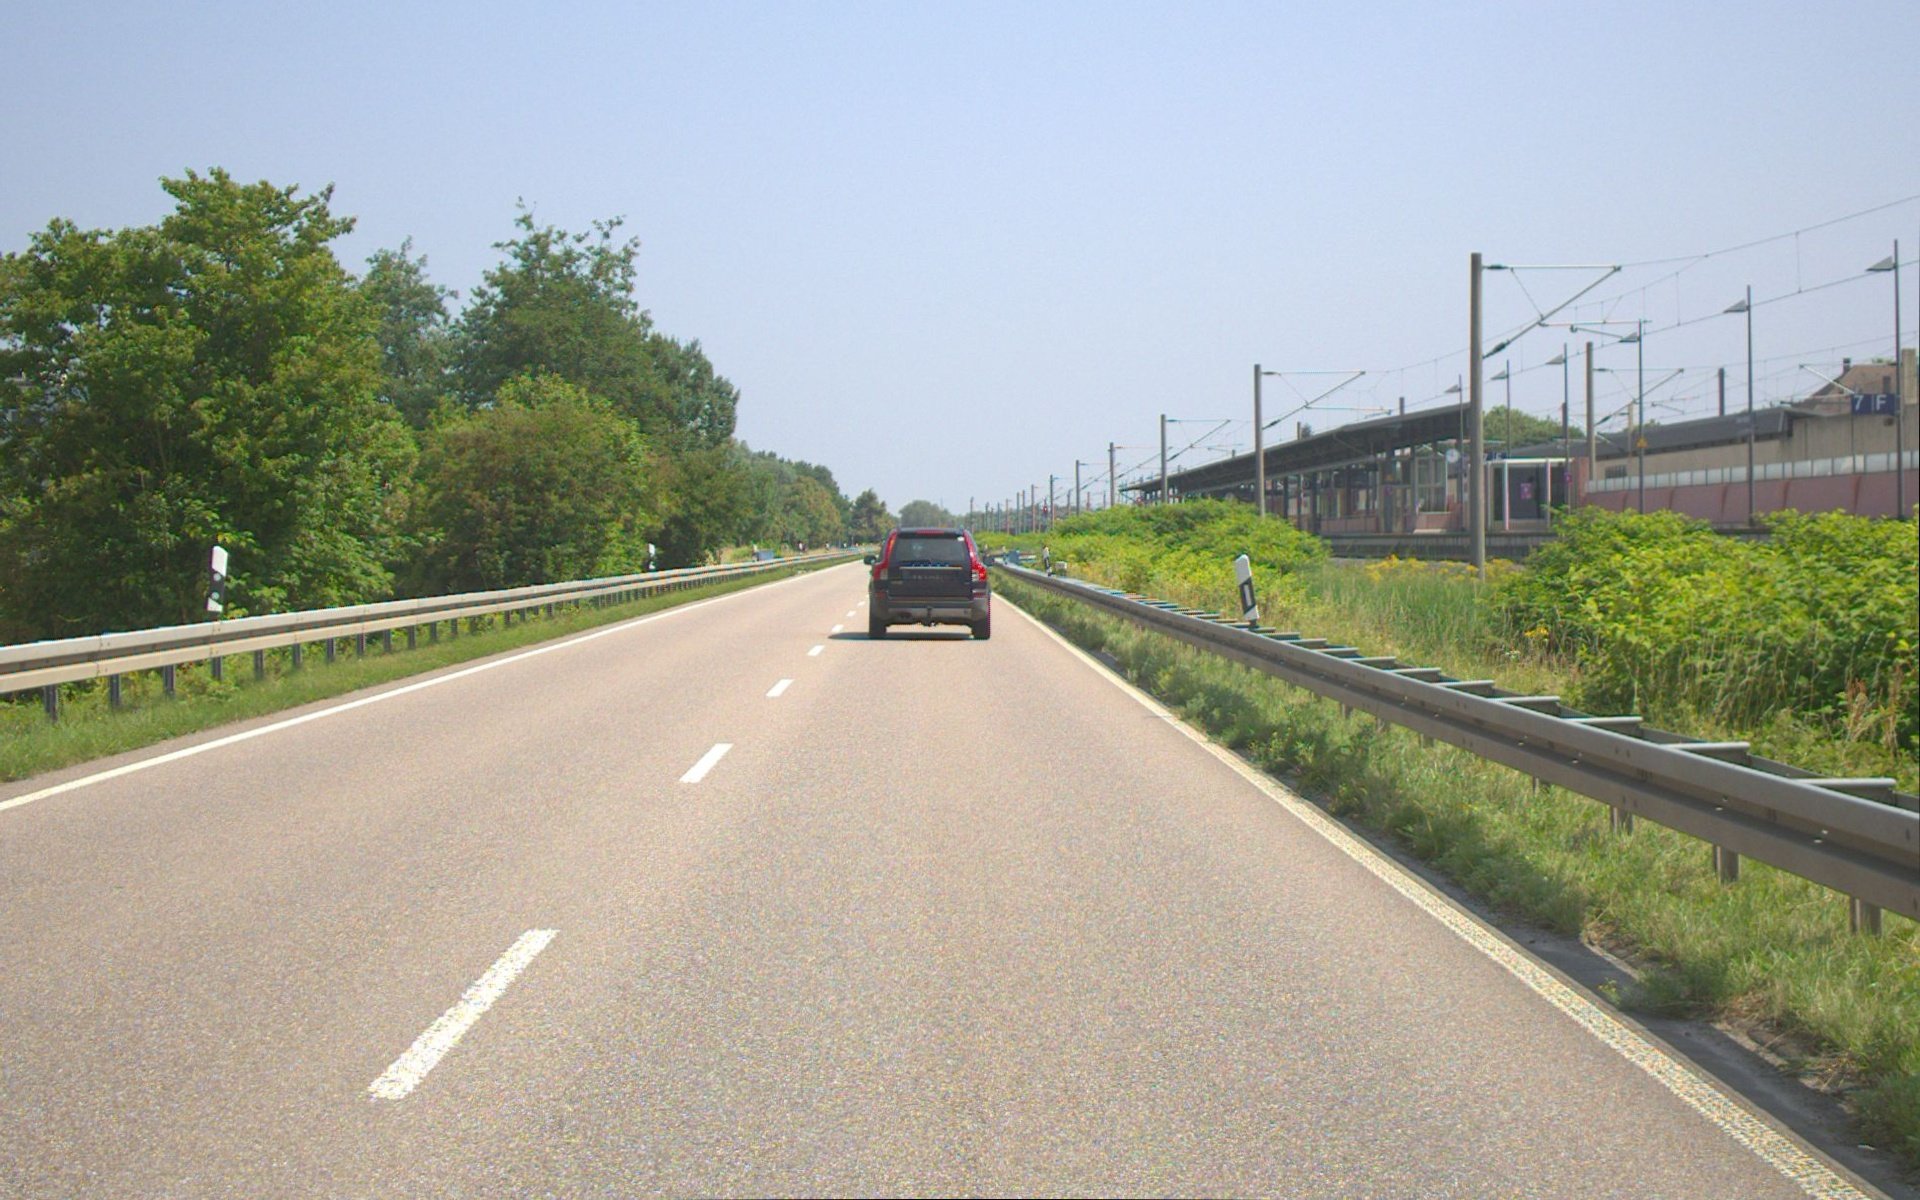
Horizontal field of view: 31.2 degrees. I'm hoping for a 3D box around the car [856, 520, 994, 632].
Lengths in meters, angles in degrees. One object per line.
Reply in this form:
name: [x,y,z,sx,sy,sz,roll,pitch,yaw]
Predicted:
car: [-0.586,-0.401,53.831,1.993,1.694,4.001,0,1,-3]
